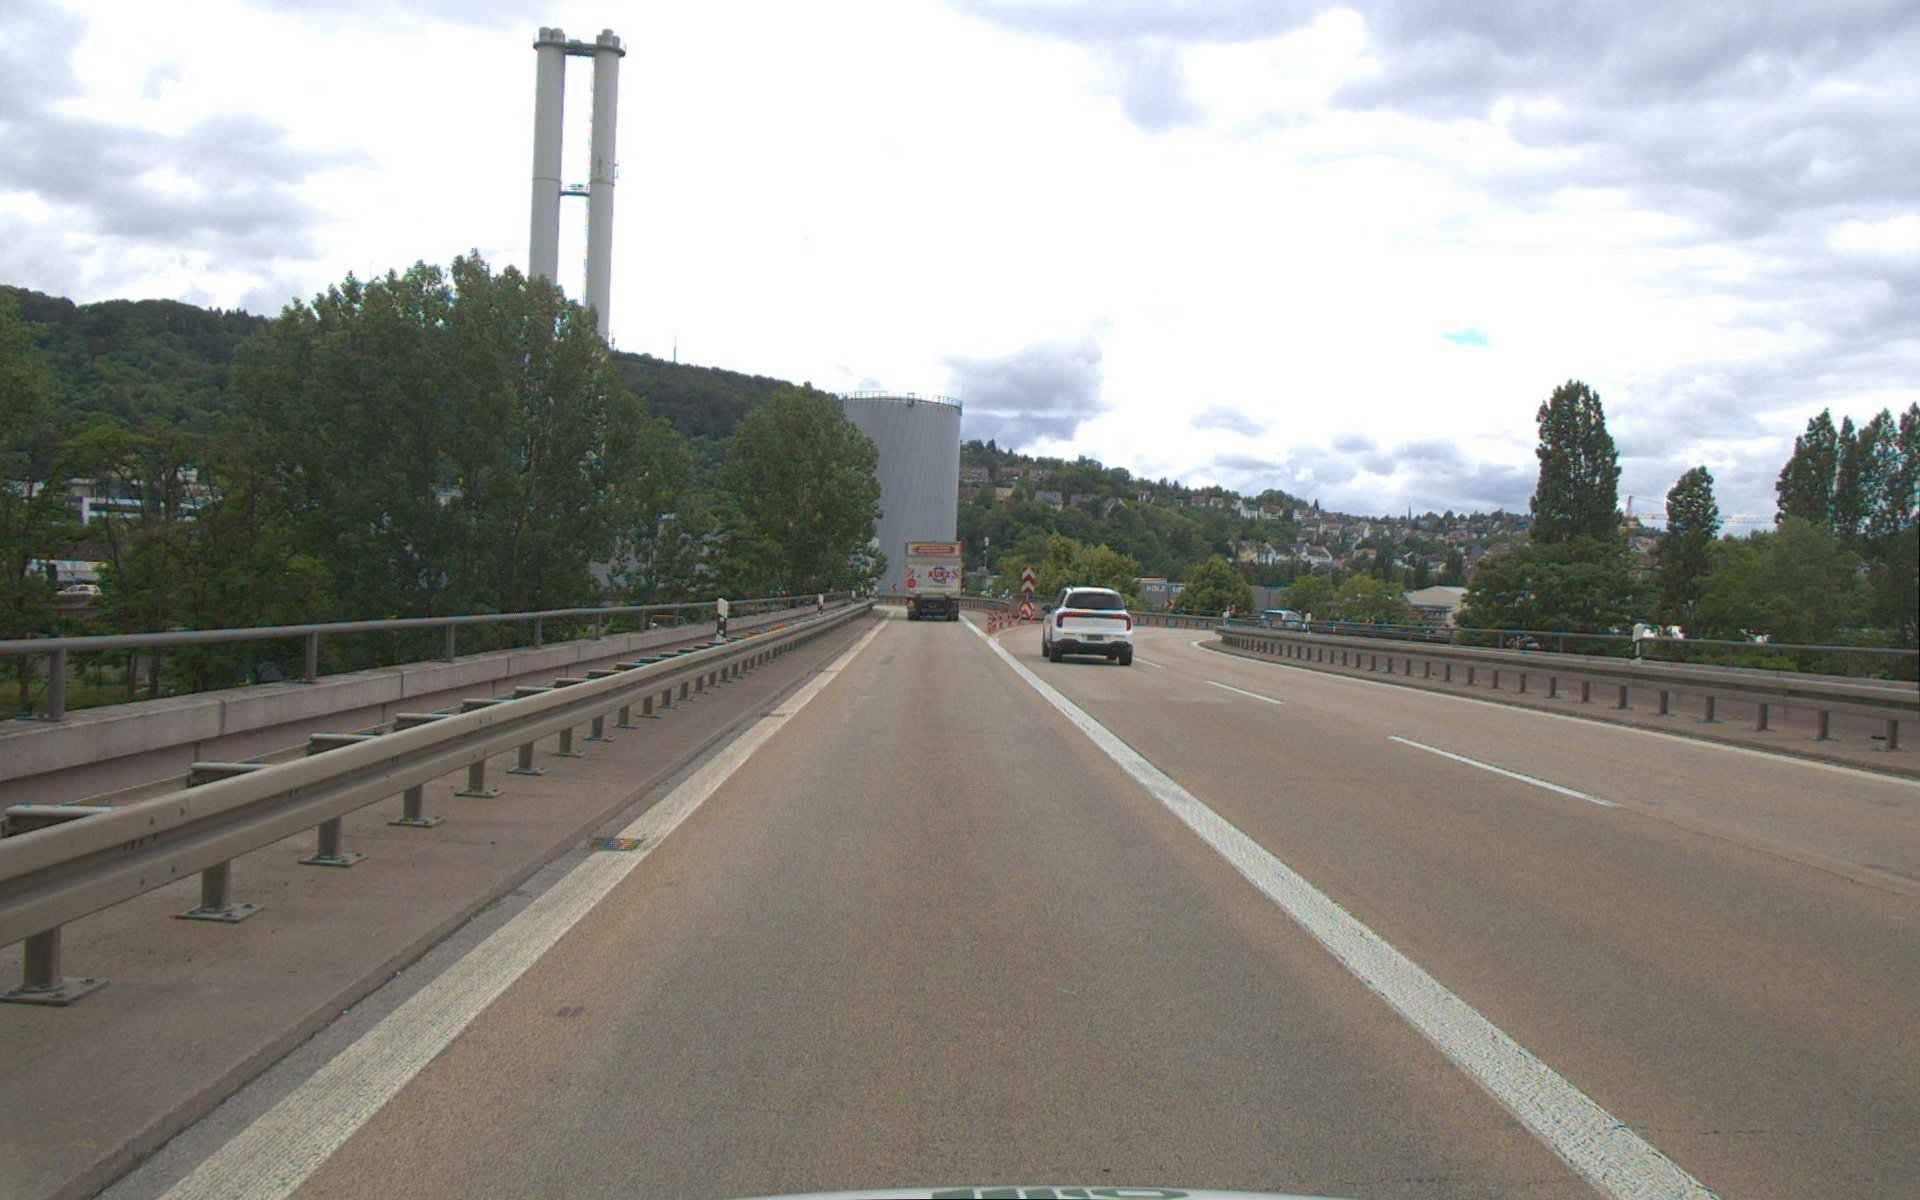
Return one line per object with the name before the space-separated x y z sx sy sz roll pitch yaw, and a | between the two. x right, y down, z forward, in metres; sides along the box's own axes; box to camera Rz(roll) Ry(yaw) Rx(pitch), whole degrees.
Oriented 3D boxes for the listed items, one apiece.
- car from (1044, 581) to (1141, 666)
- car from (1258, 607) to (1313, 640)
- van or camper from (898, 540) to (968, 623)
car | 2.980 0.478 38.018 1.884 1.816 4.113 1 1 0
car | 18.830 1.344 95.599 1.888 1.816 4.105 1 1 30
van or camper | -1.228 -0.848 78.007 3.058 3.641 8.549 1 0 0
